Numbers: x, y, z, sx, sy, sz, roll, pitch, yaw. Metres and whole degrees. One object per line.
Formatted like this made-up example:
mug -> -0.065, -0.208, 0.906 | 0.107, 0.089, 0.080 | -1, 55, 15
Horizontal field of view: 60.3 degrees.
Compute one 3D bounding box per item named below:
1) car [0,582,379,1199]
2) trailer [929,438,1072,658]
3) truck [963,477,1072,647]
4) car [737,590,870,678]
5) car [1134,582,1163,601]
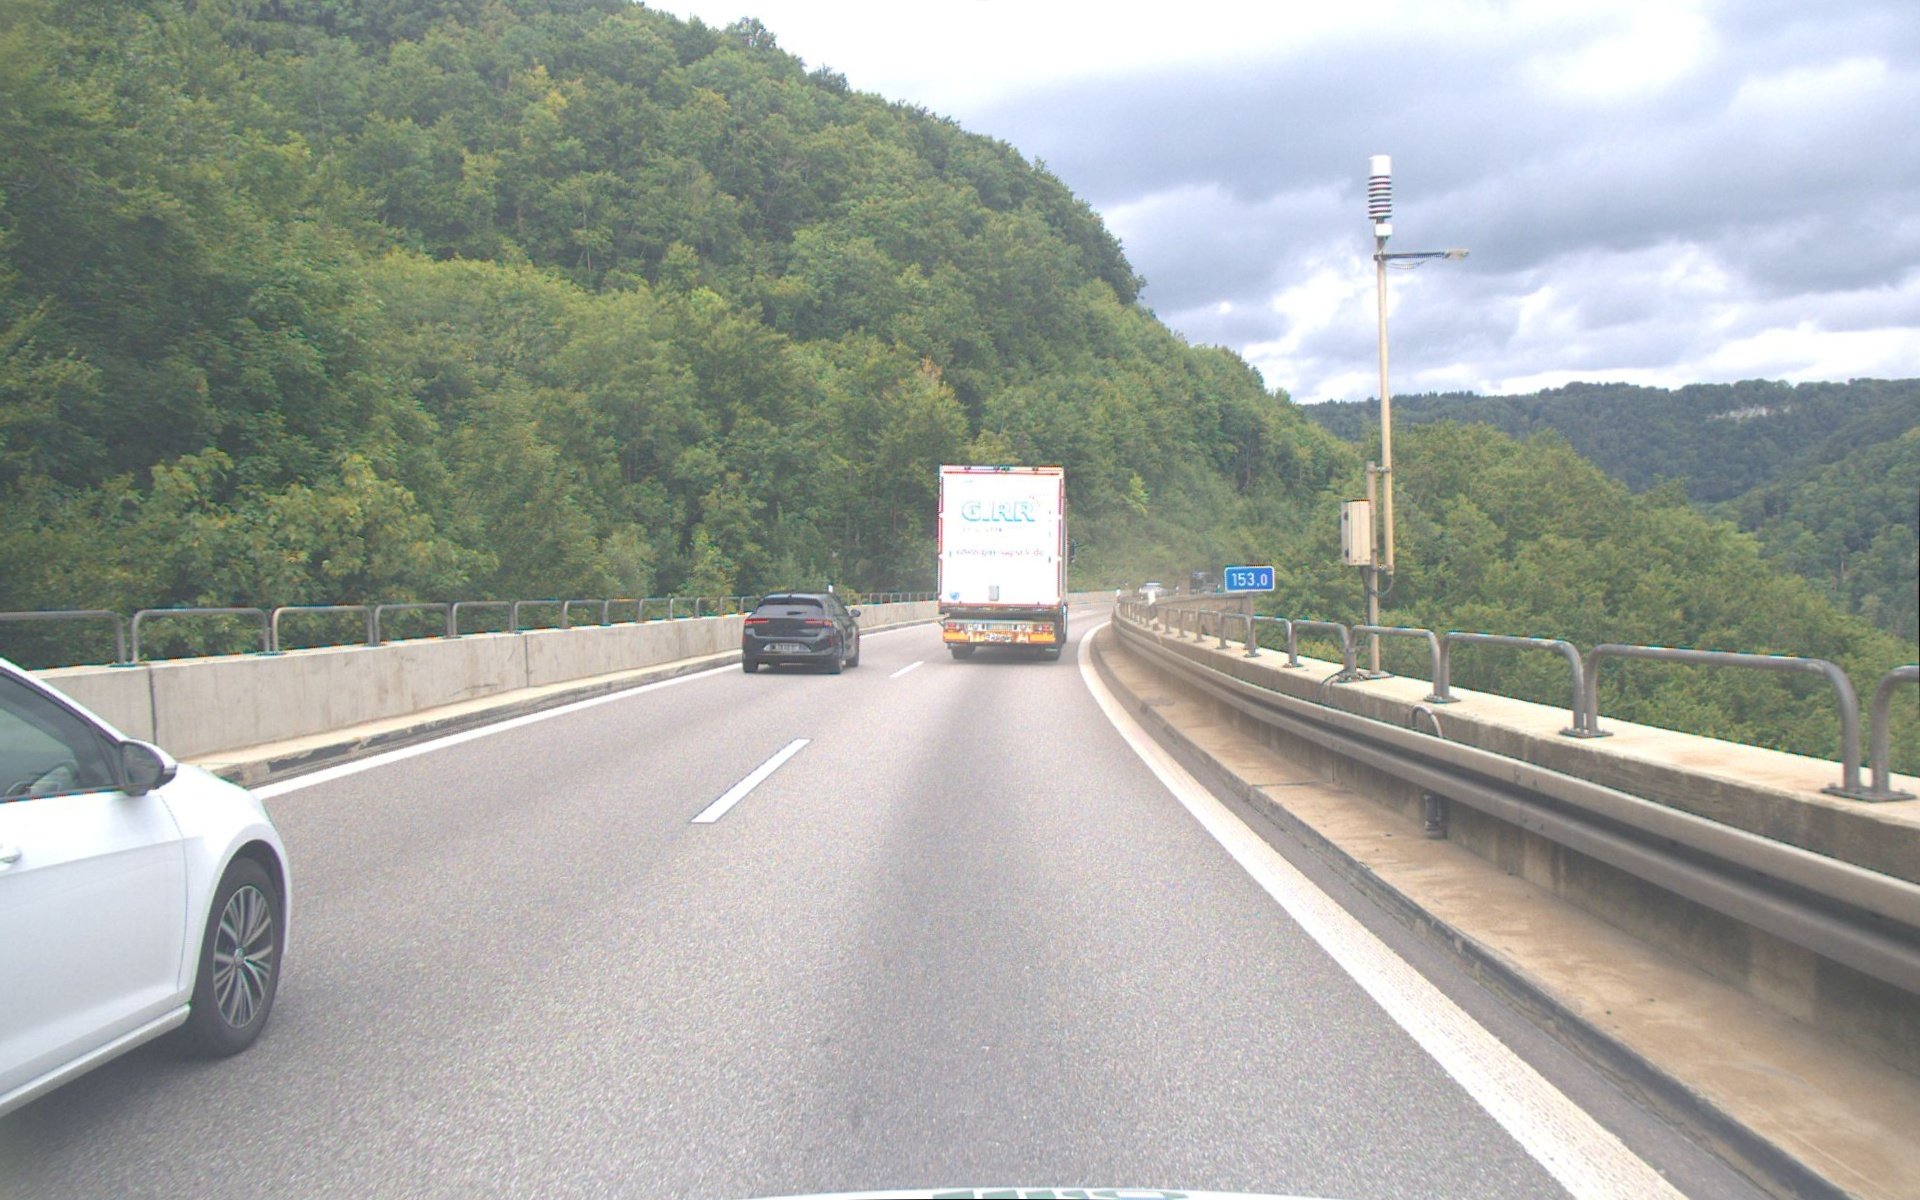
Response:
car -> -3.102, 0.702, 3.989 | 1.807, 1.507, 4.627 | 1, 0, -1
trailer -> 1.219, -0.982, 39.258 | 2.754, 4.378, 12.250 | 0, -1, 4
truck -> 1.694, -0.947, 45.758 | 2.754, 4.378, 6.262 | 0, -1, 4
car -> -2.817, 0.589, 30.738 | 1.736, 1.486, 4.584 | 0, 0, 4
car -> 17.099, -0.769, 149.703 | 1.951, 1.593, 4.002 | 0, -1, 17
